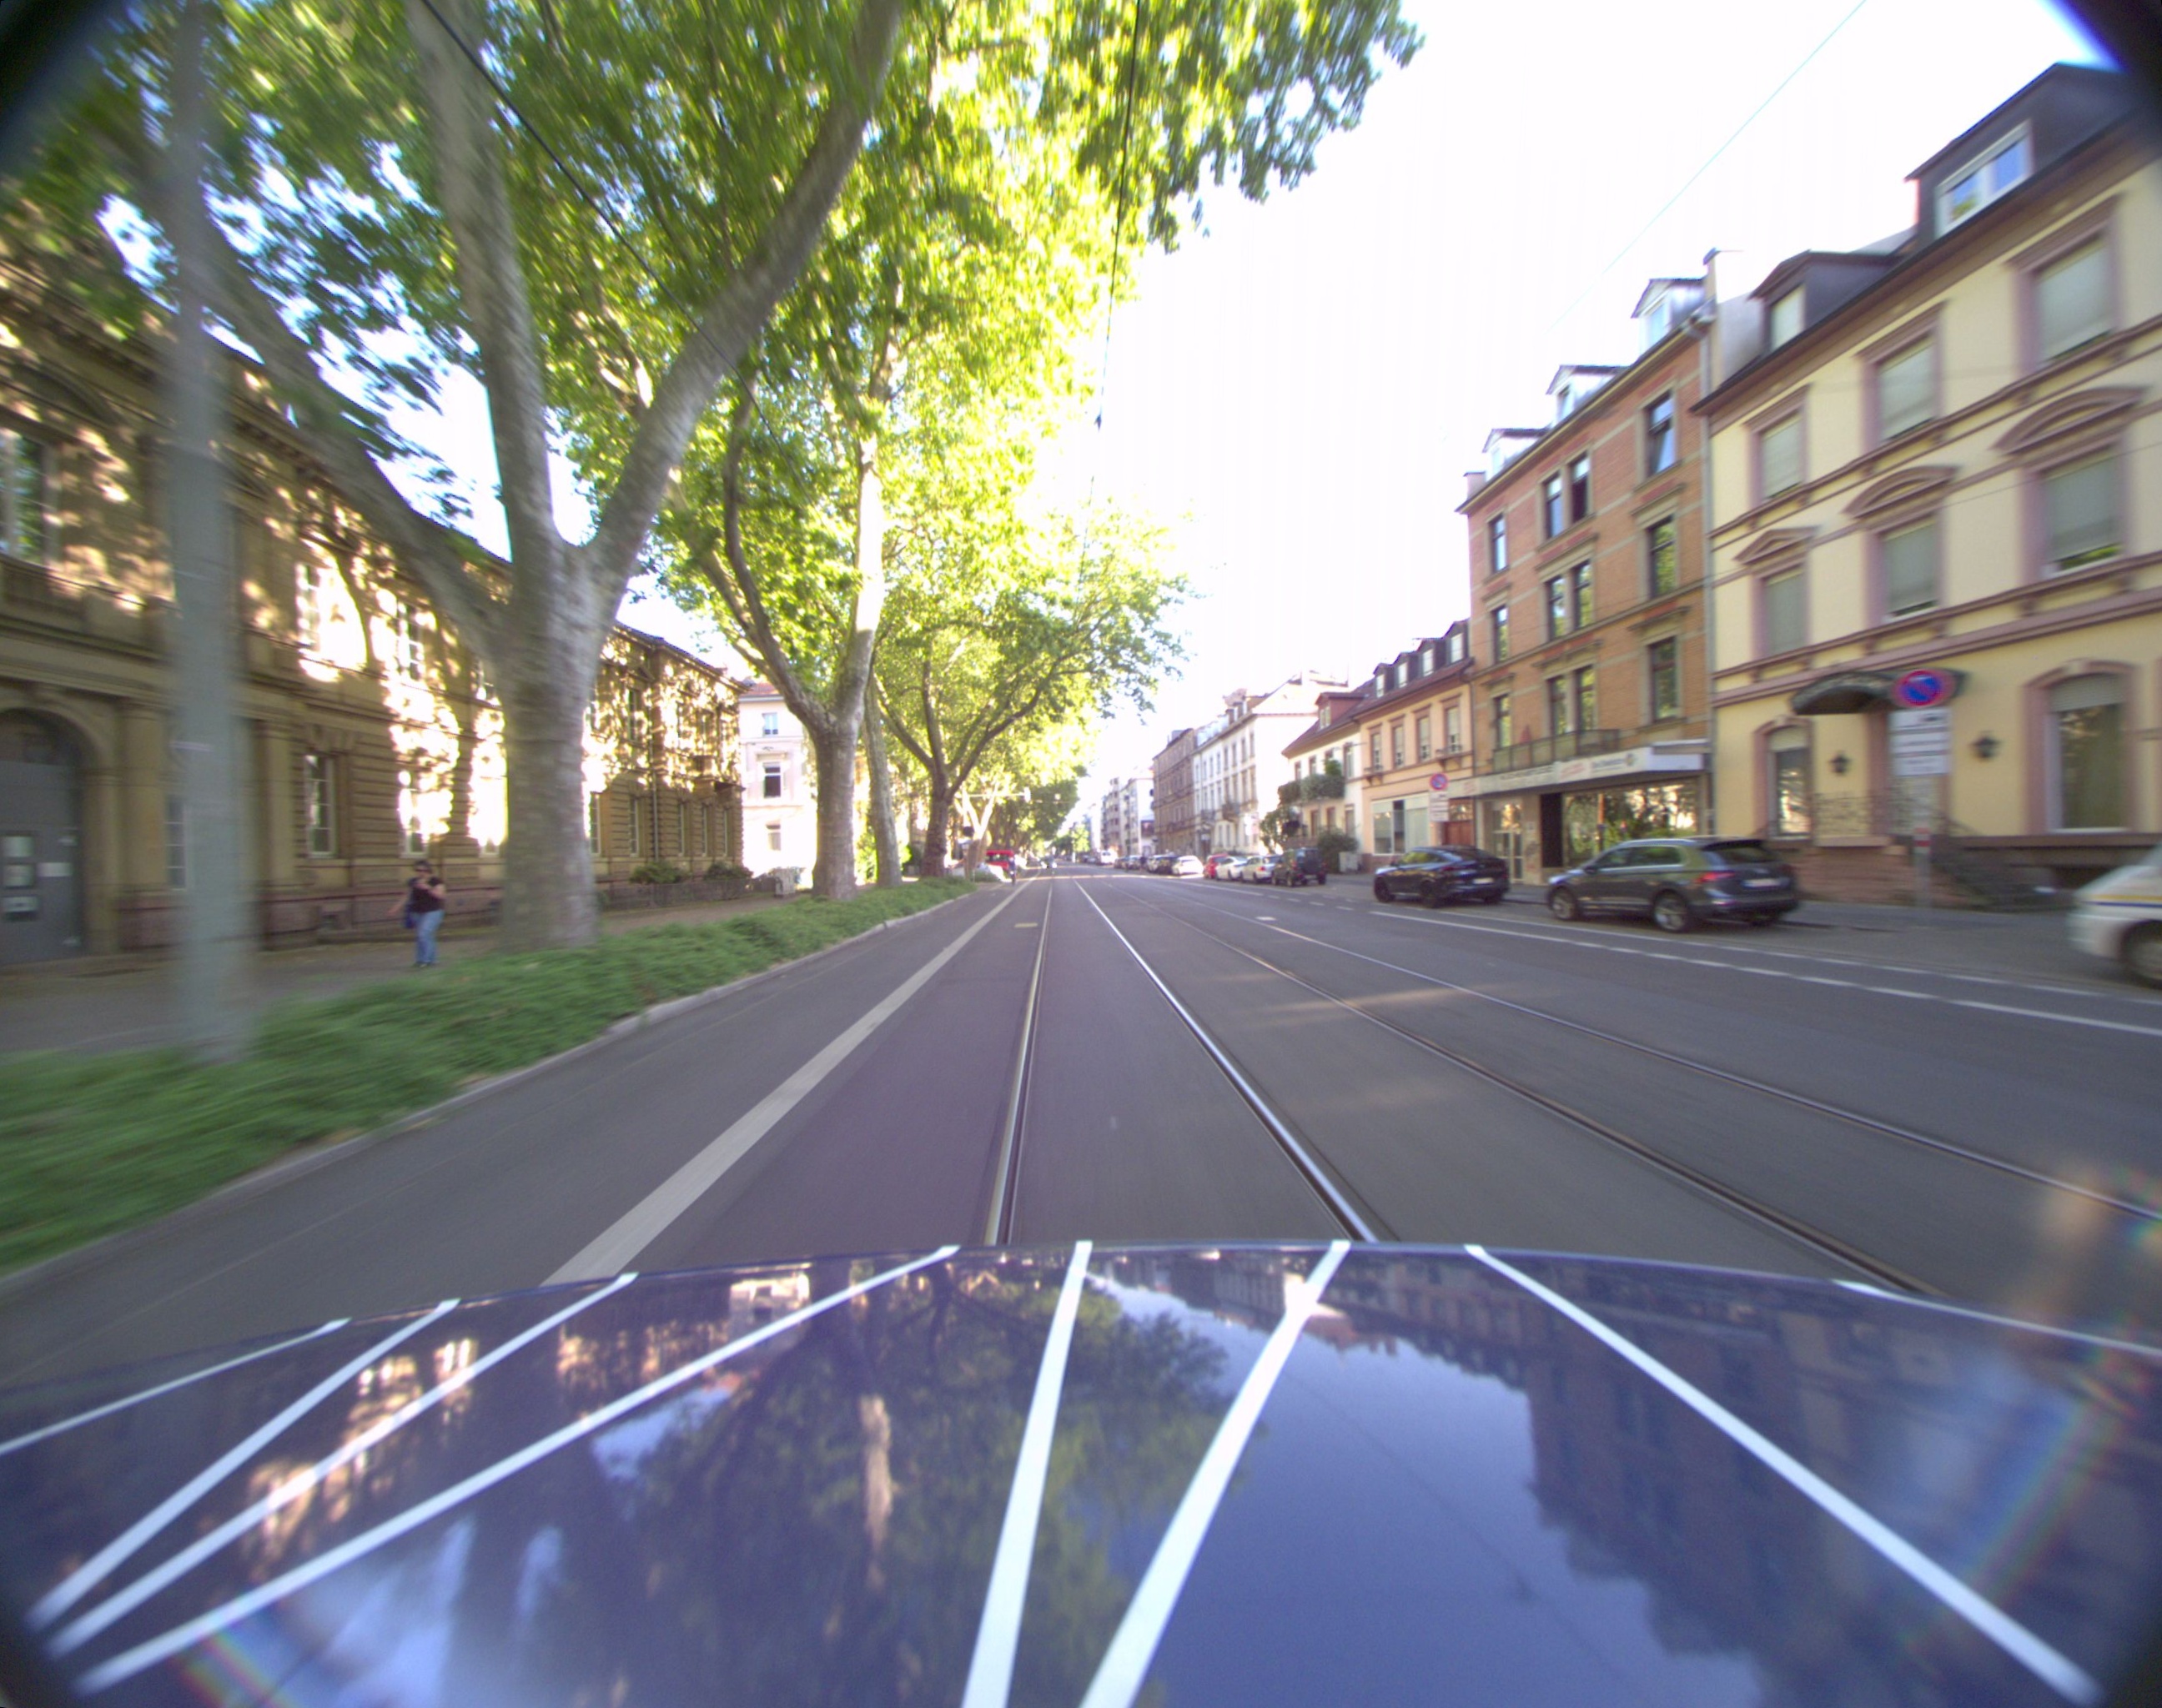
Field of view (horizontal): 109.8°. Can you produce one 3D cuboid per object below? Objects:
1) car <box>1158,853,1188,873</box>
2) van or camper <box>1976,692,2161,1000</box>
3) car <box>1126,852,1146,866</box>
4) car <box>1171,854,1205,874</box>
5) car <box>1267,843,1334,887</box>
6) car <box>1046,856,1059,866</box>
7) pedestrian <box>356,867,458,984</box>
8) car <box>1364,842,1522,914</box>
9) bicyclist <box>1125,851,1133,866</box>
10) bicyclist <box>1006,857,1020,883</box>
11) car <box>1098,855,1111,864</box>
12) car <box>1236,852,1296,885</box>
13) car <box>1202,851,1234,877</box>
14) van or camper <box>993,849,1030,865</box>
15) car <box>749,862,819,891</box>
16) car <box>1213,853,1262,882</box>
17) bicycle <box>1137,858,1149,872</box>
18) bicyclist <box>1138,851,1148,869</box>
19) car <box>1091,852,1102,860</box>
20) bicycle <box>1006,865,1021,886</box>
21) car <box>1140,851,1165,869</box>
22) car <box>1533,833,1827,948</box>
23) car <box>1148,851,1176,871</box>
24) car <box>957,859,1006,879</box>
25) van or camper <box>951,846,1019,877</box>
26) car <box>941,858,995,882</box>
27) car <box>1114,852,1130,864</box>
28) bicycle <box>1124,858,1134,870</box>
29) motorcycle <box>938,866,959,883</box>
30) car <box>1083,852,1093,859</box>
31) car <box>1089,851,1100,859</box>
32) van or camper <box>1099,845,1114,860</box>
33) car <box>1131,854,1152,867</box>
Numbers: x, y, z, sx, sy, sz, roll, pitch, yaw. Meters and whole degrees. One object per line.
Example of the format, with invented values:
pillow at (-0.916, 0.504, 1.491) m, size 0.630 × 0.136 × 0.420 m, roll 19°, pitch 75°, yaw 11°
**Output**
car at (7.785, 0.742, 64.817) m, size 1.798 × 1.587 × 4.082 m, roll -4°, pitch 0°, yaw -3°
van or camper at (11.514, -0.158, 4.996) m, size 2.426 × 2.930 × 7.249 m, roll -5°, pitch 0°, yaw -1°
car at (6.479, 0.587, 90.494) m, size 1.798 × 1.617 × 4.082 m, roll -4°, pitch 0°, yaw -3°
car at (8.363, 0.774, 59.698) m, size 1.869 × 1.423 × 4.082 m, roll -4°, pitch 0°, yaw -3°
car at (9.821, 0.484, 34.250) m, size 1.729 × 1.736 × 3.624 m, roll -5°, pitch 0°, yaw -2°
car at (-4.290, 1.065, 113.252) m, size 1.740 × 1.365 × 3.917 m, roll -4°, pitch 0°, yaw -3°
pedestrian at (-10.520, 1.082, 11.906) m, size 0.652 × 1.726 × 1.007 m, roll -2°, pitch 1°, yaw -2°
car at (10.321, 0.620, 22.170) m, size 1.999 × 1.693 × 4.749 m, roll -5°, pitch 0°, yaw -4°
bicyclist at (4.642, 0.432, 73.747) m, size 0.715 × 1.508 × 0.953 m, roll -2°, pitch 1°, yaw -2°
bicyclist at (-3.909, 0.917, 43.776) m, size 0.715 × 1.435 × 0.953 m, roll -2°, pitch 1°, yaw -1°
car at (4.054, 0.949, 132.120) m, size 1.809 × 1.534 × 3.917 m, roll -4°, pitch 0°, yaw -3°
car at (9.318, 0.683, 38.633) m, size 1.668 × 1.446 × 4.403 m, roll -4°, pitch 0°, yaw -3°
car at (8.876, 0.625, 49.457) m, size 1.422 × 1.502 × 3.325 m, roll -4°, pitch 0°, yaw 0°
van or camper at (-11.857, 0.505, 129.473) m, size 6.100 × 2.417 × 2.427 m, roll -2°, pitch 0°, yaw -2°
car at (-18.180, 1.360, 46.627) m, size 3.572 × 1.535 × 1.735 m, roll -2°, pitch 3°, yaw -3°
car at (9.007, 0.736, 44.049) m, size 1.587 × 1.482 × 4.469 m, roll -4°, pitch 0°, yaw -3°
bicycle at (5.278, 0.903, 64.958) m, size 0.715 × 1.131 × 2.120 m, roll -2°, pitch 0°, yaw -2°
bicyclist at (5.263, 0.493, 64.958) m, size 0.715 × 1.508 × 0.953 m, roll -2°, pitch 1°, yaw -2°
car at (3.126, 0.372, 151.468) m, size 1.809 × 1.534 × 3.917 m, roll -4°, pitch 0°, yaw -3°
bicycle at (-3.912, 1.201, 43.878) m, size 0.715 × 1.131 × 2.120 m, roll -2°, pitch 0°, yaw -2°
car at (7.174, 0.621, 76.346) m, size 1.798 × 1.630 × 4.574 m, roll -4°, pitch 0°, yaw -3°
car at (11.009, 0.584, 14.495) m, size 1.815 × 1.695 × 4.441 m, roll -5°, pitch 0°, yaw -4°
car at (7.439, 0.635, 70.120) m, size 1.798 × 1.630 × 4.253 m, roll -4°, pitch 0°, yaw -3°
car at (-7.889, 1.184, 60.361) m, size 3.678 × 1.410 × 1.614 m, roll -2°, pitch 3°, yaw -3°
van or camper at (-8.661, 0.673, 69.194) m, size 5.930 × 2.484 × 2.219 m, roll -2°, pitch 3°, yaw -5°
car at (-8.150, 1.152, 55.202) m, size 3.678 × 1.535 × 1.614 m, roll -2°, pitch 3°, yaw -3°
car at (5.700, 0.577, 106.561) m, size 1.809 × 1.534 × 3.917 m, roll -4°, pitch 0°, yaw -3°
bicycle at (4.655, 0.932, 73.782) m, size 0.715 × 1.131 × 2.120 m, roll -2°, pitch 0°, yaw -2°
motorcycle at (-8.546, 1.321, 49.074) m, size 1.274 × 1.048 × 0.394 m, roll -2°, pitch 1°, yaw -39°
car at (1.670, 0.280, 177.179) m, size 1.809 × 1.534 × 3.917 m, roll -4°, pitch 0°, yaw -5°
car at (2.918, 0.207, 162.255) m, size 1.809 × 1.534 × 3.917 m, roll -4°, pitch 0°, yaw -5°
van or camper at (4.195, -0.206, 126.562) m, size 1.945 × 2.267 × 4.596 m, roll -4°, pitch 0°, yaw -3°
car at (6.761, 0.735, 85.201) m, size 1.798 × 1.368 × 4.082 m, roll -4°, pitch 0°, yaw -3°
